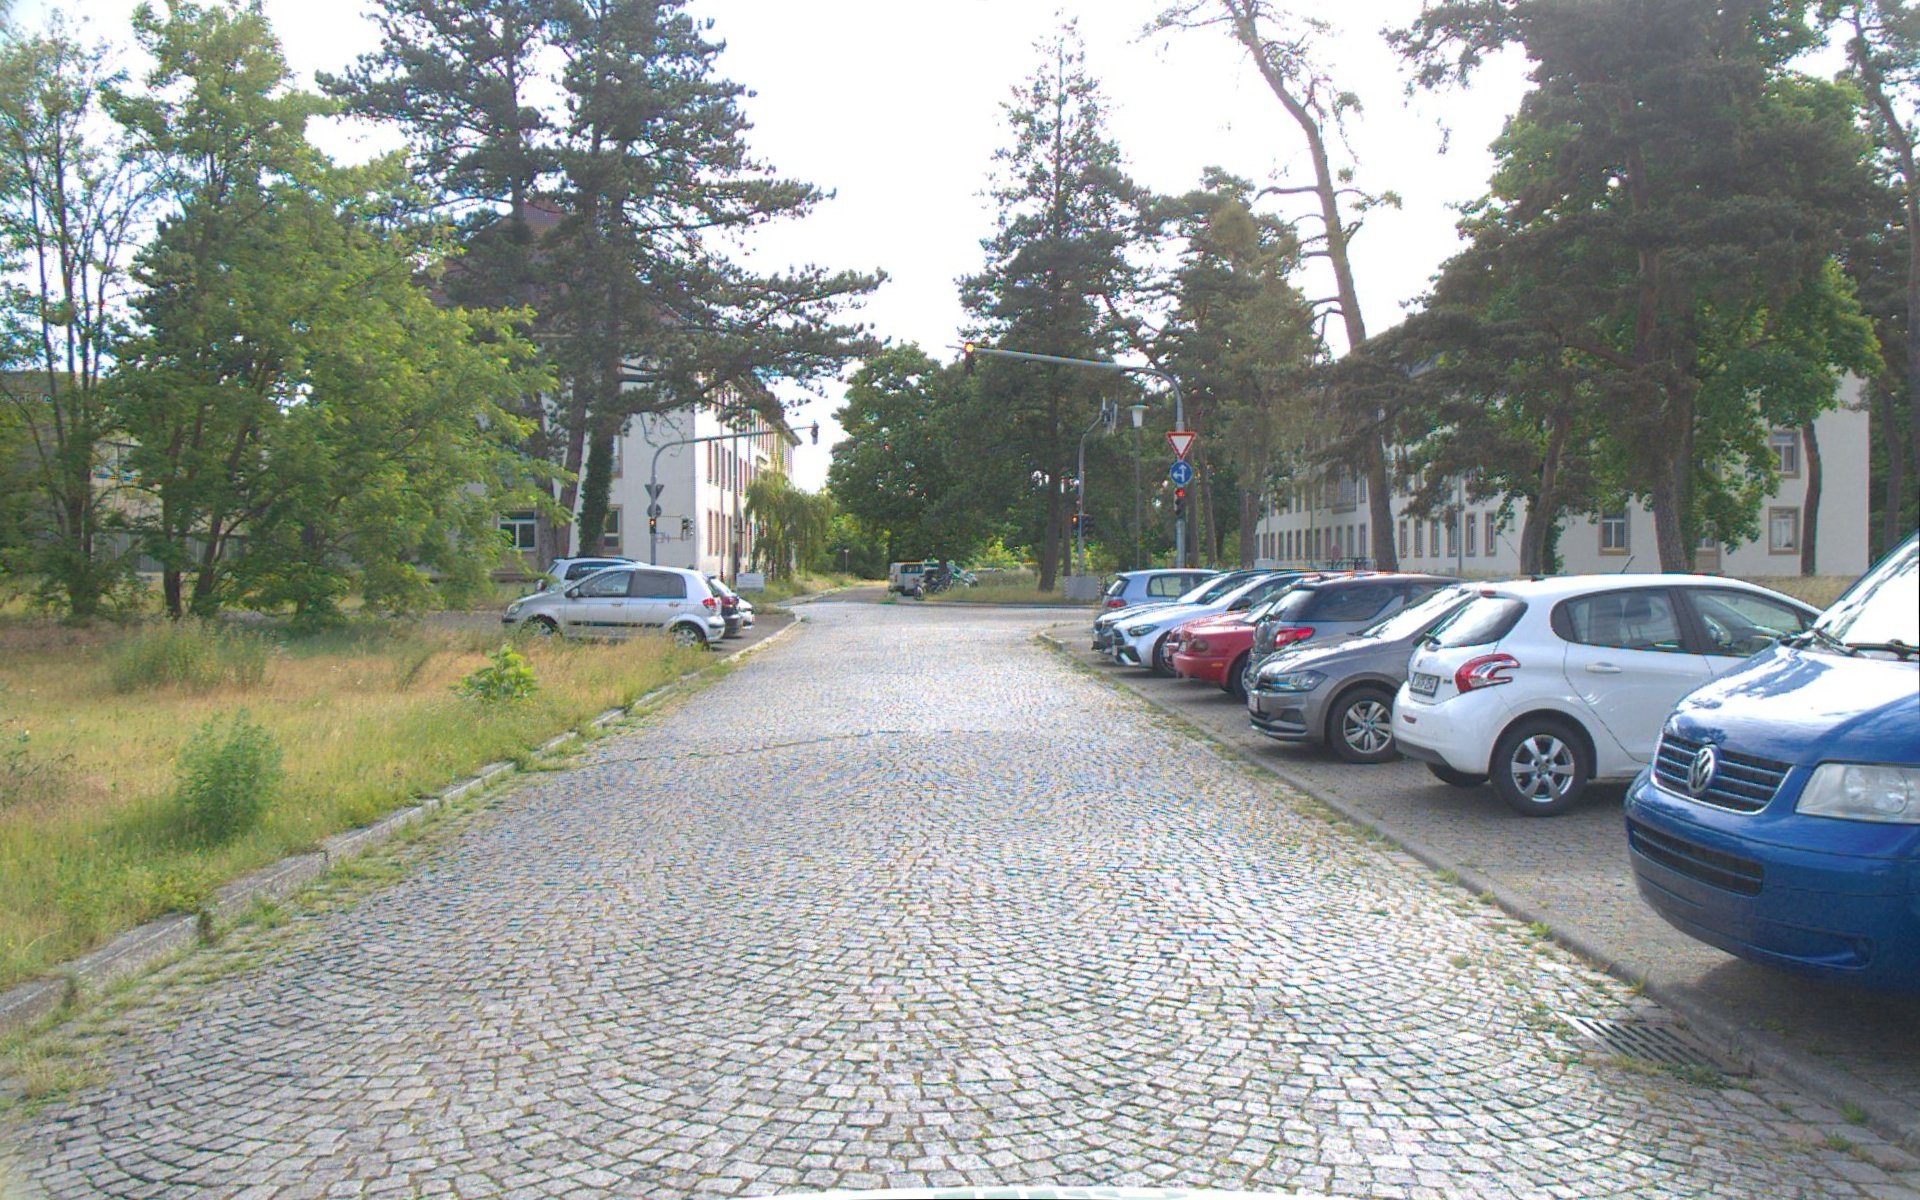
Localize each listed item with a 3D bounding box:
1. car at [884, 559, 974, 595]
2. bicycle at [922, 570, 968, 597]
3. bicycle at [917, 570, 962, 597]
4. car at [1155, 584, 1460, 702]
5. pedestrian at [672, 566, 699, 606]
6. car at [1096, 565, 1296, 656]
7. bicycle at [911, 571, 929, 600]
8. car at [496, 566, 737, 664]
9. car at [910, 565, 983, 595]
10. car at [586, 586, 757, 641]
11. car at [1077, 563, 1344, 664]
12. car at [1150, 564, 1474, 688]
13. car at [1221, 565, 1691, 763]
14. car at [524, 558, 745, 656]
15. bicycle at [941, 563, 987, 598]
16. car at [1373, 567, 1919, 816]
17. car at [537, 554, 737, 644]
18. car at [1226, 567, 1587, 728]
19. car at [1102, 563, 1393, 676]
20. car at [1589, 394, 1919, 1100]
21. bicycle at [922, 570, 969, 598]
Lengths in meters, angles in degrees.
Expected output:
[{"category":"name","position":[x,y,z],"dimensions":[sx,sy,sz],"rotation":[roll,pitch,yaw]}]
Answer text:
[{"category":"car","position":[-1.840,-1.323,96.266],"dimensions":[4.962,2.049,1.994],"rotation":[0,1,-13]},{"category":"bicycle","position":[-0.712,-0.775,79.072],"dimensions":[2.120,1.290,0.811],"rotation":[0,1,-9]},{"category":"bicycle","position":[-0.984,-0.788,80.275],"dimensions":[2.120,1.290,0.811],"rotation":[0,1,-9]},{"category":"car","position":[4.107,0.480,19.813],"dimensions":[3.230,1.289,1.661],"rotation":[0,1,-8]},{"category":"pedestrian","position":[-10.353,-0.534,62.416],"dimensions":[0.880,1.524,0.904],"rotation":[0,1,-1]},{"category":"car","position":[4.207,0.159,29.683],"dimensions":[3.325,1.570,1.389],"rotation":[0,1,-8]},{"category":"bicycle","position":[-1.792,-0.662,74.681],"dimensions":[0.793,1.290,1.973],"rotation":[0,1,-1]},{"category":"car","position":[-5.823,0.225,28.480],"dimensions":[3.912,1.579,1.997],"rotation":[0,1,-8]},{"category":"car","position":[-0.786,-1.147,93.031],"dimensions":[3.912,1.673,1.997],"rotation":[0,1,-8]},{"category":"car","position":[-6.269,0.275,36.184],"dimensions":[3.602,1.113,1.643],"rotation":[0,1,-8]},{"category":"car","position":[4.069,0.192,27.107],"dimensions":[4.045,1.570,1.661],"rotation":[0,1,-8]},{"category":"car","position":[4.642,0.314,22.080],"dimensions":[3.912,1.570,1.661],"rotation":[0,1,-8]},{"category":"car","position":[4.203,0.480,14.220],"dimensions":[3.535,1.533,1.659],"rotation":[-1,1,-13]},{"category":"car","position":[-6.014,0.100,30.965],"dimensions":[3.912,1.735,1.997],"rotation":[0,1,-8]},{"category":"bicycle","position":[0.177,-0.942,79.815],"dimensions":[2.120,1.644,0.811],"rotation":[0,1,-9]},{"category":"car","position":[4.651,0.555,11.274],"dimensions":[3.227,1.531,1.663],"rotation":[0,1,-4]},{"category":"car","position":[-6.578,-0.034,33.994],"dimensions":[3.913,1.780,1.923],"rotation":[0,1,-9]},{"category":"car","position":[4.570,0.435,17.114],"dimensions":[3.235,1.530,1.659],"rotation":[-1,1,-13]},{"category":"car","position":[4.170,0.246,24.296],"dimensions":[3.912,1.570,1.661],"rotation":[0,1,-8]},{"category":"car","position":[4.893,0.408,5.865],"dimensions":[4.687,2.075,1.737],"rotation":[0,1,-3]},{"category":"bicycle","position":[-0.688,-0.771,78.485],"dimensions":[2.120,1.290,0.811],"rotation":[0,1,-9]}]
